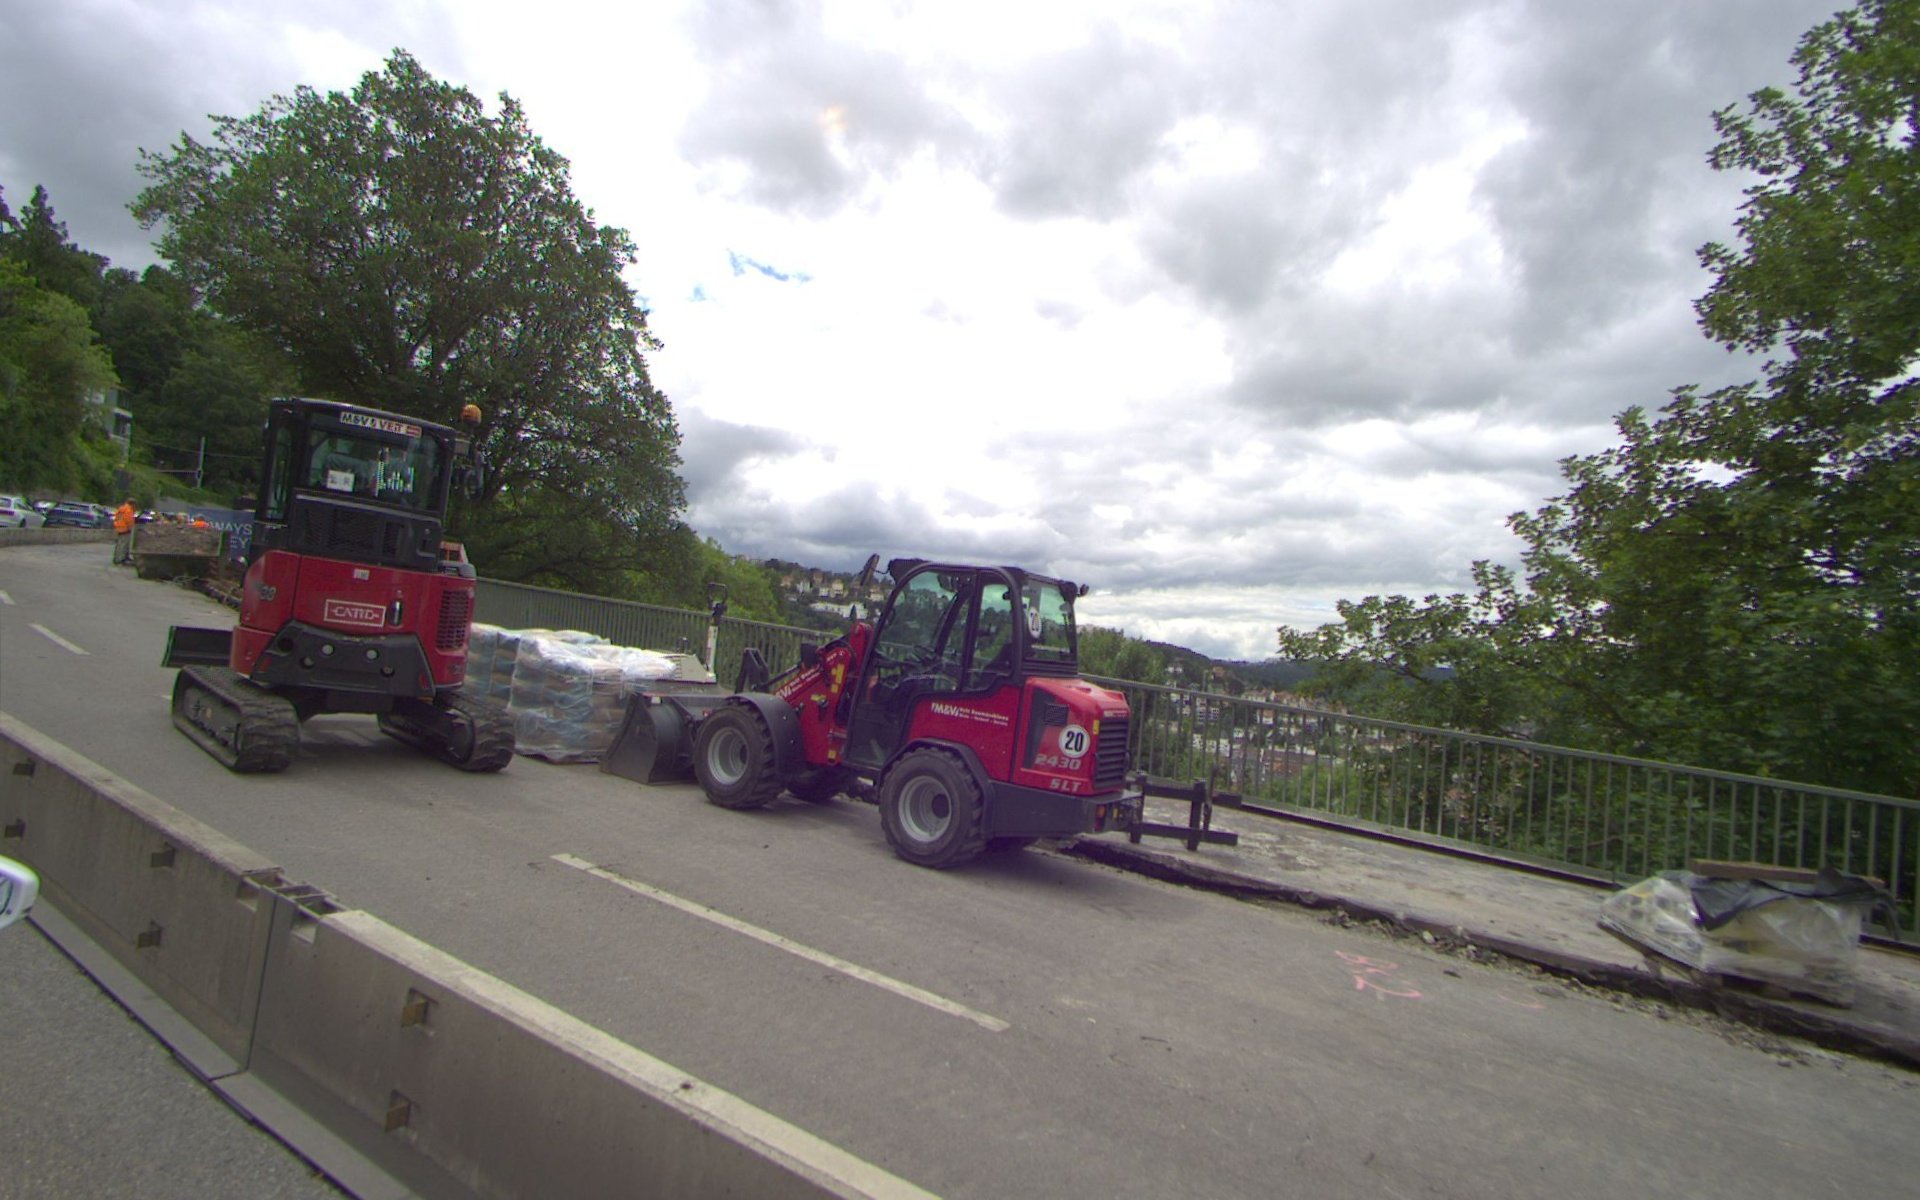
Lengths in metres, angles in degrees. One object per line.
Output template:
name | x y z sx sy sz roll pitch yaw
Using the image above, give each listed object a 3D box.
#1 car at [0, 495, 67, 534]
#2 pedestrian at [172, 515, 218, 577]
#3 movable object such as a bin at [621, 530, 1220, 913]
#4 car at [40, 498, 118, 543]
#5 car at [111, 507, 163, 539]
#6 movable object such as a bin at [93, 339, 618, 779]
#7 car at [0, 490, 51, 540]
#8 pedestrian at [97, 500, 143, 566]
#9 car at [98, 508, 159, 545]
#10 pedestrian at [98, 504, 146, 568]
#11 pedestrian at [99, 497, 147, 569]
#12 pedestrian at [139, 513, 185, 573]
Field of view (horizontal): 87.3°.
car | -45.232 -4.126 48.879 1.755 1.468 4.276 10 -2 -29
pedestrian | -22.540 -1.591 29.647 0.776 1.708 0.780 7 0 -27
movable object such as a bin | -0.410 0.715 7.630 4.096 1.965 1.704 7 -2 32
car | -40.331 -3.597 46.171 1.796 1.683 3.969 7 -1 -30
car | -52.700 -4.913 64.456 1.796 1.683 3.969 7 -1 -30
movable object such as a bin | -5.343 -0.316 8.554 4.876 2.693 2.210 6 -2 42
car | -34.787 -3.146 36.445 1.796 1.683 3.969 7 -1 -30
pedestrian | -25.353 -2.024 30.362 0.873 1.844 0.867 7 0 -43
car | -46.036 -4.044 55.759 1.796 1.683 3.969 7 -1 -30
pedestrian | -24.663 -1.887 29.615 0.873 1.752 0.867 7 0 -43
pedestrian | -23.960 -1.910 28.814 0.812 1.929 0.691 7 0 34
pedestrian | -23.355 -1.659 29.445 0.776 1.627 0.662 7 0 -28
